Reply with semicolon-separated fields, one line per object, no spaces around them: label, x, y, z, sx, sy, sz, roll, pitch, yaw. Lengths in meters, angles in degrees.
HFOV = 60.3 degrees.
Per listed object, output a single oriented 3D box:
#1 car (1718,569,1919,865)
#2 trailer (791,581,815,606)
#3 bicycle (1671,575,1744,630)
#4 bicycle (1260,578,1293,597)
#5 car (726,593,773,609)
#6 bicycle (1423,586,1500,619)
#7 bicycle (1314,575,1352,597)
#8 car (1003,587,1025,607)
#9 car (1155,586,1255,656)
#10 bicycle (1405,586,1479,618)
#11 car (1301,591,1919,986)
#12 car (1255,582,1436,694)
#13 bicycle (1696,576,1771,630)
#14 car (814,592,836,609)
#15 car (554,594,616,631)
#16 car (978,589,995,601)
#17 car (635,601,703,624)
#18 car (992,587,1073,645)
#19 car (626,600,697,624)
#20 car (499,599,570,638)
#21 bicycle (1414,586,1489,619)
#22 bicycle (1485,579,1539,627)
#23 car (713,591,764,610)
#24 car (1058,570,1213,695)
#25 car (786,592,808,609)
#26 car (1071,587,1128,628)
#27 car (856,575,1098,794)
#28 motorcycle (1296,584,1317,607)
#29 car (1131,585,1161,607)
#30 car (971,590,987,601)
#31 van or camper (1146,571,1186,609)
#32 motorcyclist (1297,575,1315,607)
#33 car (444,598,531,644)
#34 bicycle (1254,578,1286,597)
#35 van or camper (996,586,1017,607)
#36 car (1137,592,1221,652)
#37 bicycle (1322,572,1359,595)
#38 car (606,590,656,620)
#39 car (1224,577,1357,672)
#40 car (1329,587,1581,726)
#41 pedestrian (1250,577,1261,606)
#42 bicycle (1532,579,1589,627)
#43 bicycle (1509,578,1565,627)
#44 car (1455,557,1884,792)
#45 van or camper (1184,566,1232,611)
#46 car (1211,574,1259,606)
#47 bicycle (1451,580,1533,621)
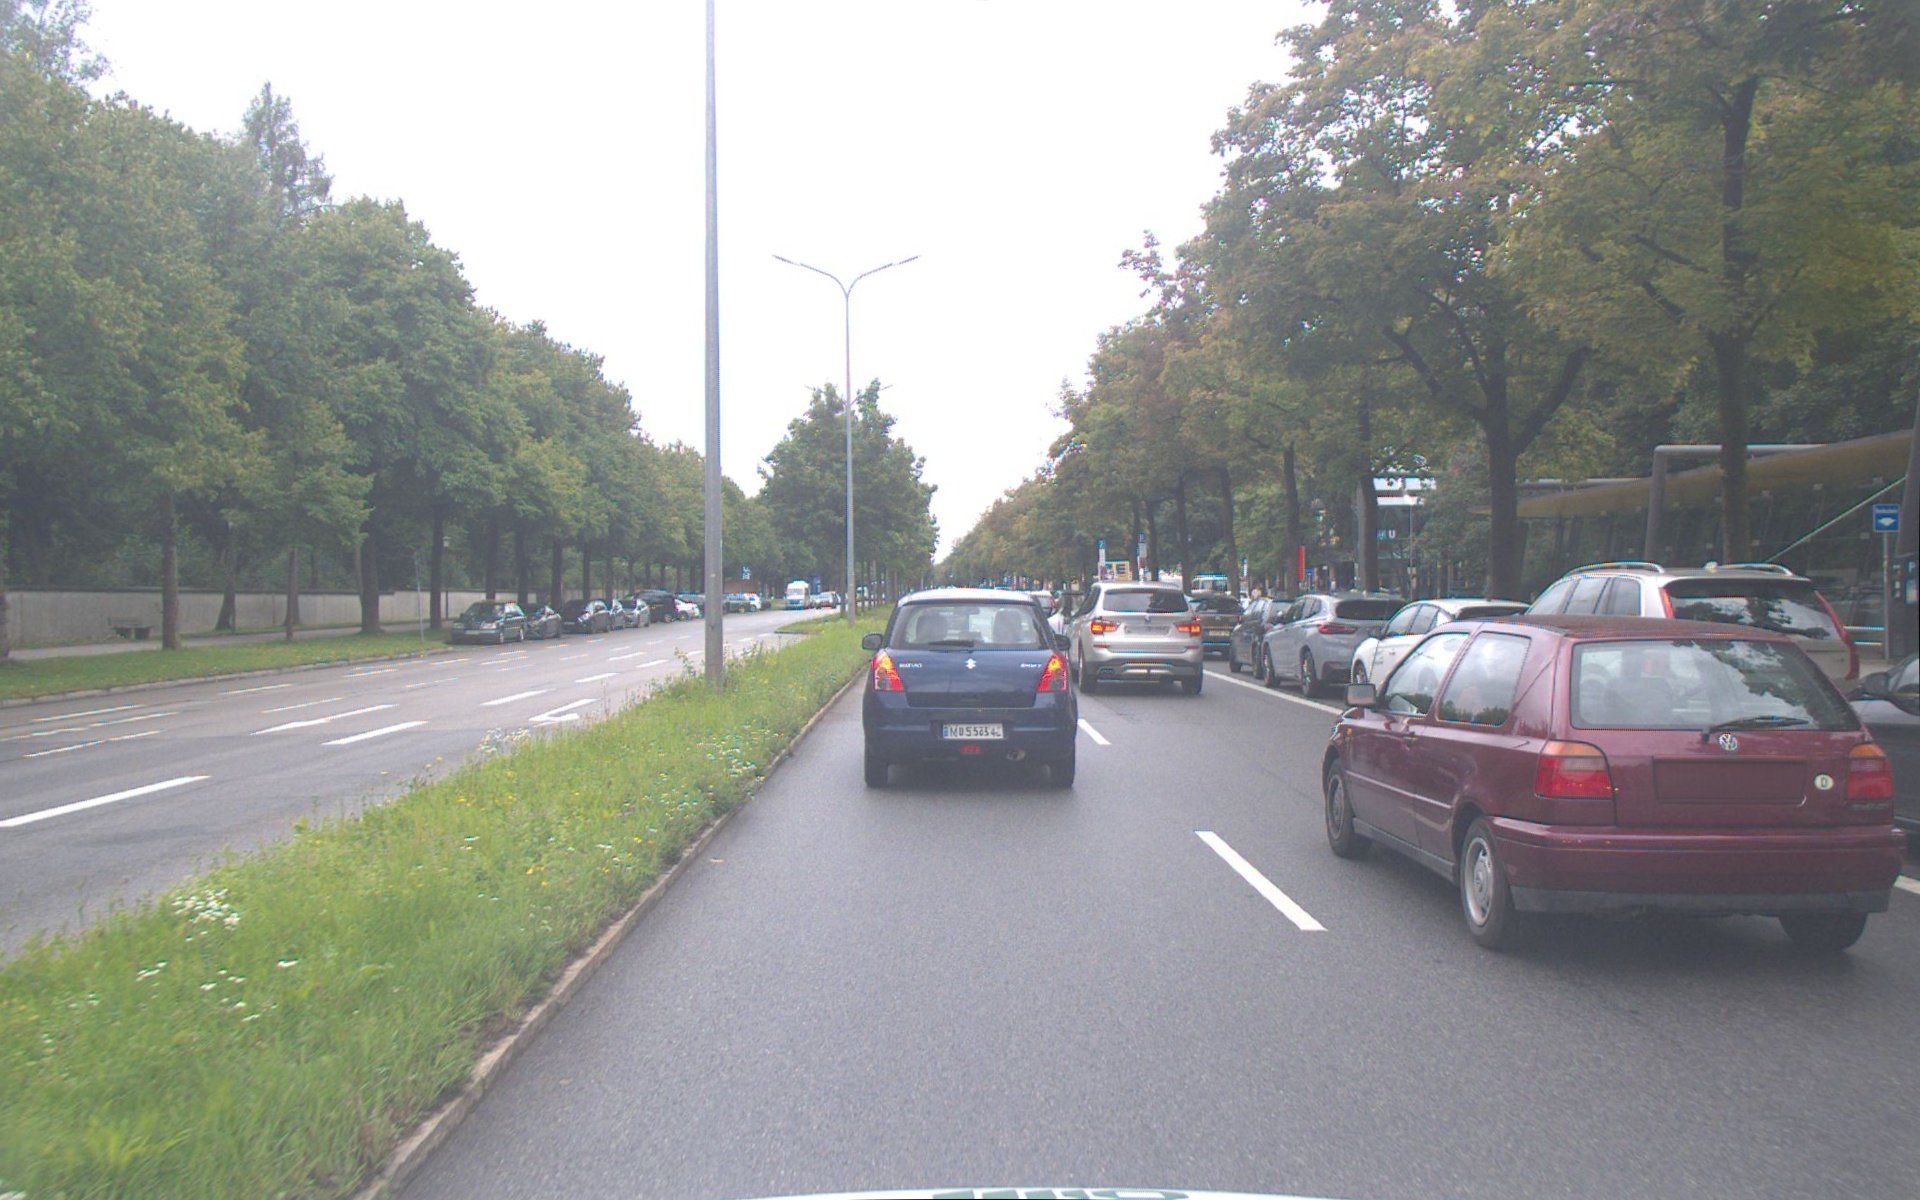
car;6.012;0.624;8.825;1.712;1.574;4.641;-1;1;-1
trailer;-16.524;-0.680;174.233;2.063;2.585;5.576;-1;0;-1
bicycle;18.482;0.058;40.951;0.632;1.303;2.550;-1;0;-1
bicycle;26.282;-1.040;137.181;2.560;1.534;0.797;-1;0;-7
car;-19.869;0.118;156.052;4.059;1.500;1.684;0;0;-35
bicycle;17.527;0.098;57.837;2.490;1.108;0.647;-1;0;-1
bicycle;26.956;-1.004;119.539;2.566;1.534;0.795;-1;0;-15
car;4.322;-0.225;133.516;1.650;1.552;4.455;1;0;0
car;5.721;0.456;39.055;1.683;1.535;4.223;-1;0;-1
bicycle;17.515;0.077;60.126;2.490;1.108;0.647;-1;0;-1
car;2.953;0.704;8.278;1.589;1.479;3.949;-1;0;-1
car;5.820;0.517;25.457;1.685;1.561;4.398;1;0;-1
bicycle;19.214;0.064;41.164;0.632;1.303;2.550;-1;0;-1
car;-12.886;0.079;158.431;1.875;1.569;4.186;-1;0;-2
car;-16.625;0.528;73.515;1.538;1.529;4.305;1;0;3
car;3.231;-0.615;199.155;1.813;1.472;4.096;-1;0;-2
car;-18.690;0.812;106.123;3.999;1.405;1.653;-1;0;-37
car;1.905;0.400;44.452;1.813;1.472;4.096;-1;0;-2
car;-18.610;0.754;103.204;3.955;1.378;1.828;-1;0;-36
car;-16.688;0.715;65.090;1.625;1.420;4.706;1;0;-1
bicycle;17.507;0.089;58.907;2.490;1.108;0.647;-1;0;-1
bicycle;15.405;0.071;46.220;0.632;1.303;2.550;-1;0;-1
car;-19.706;0.063;147.079;4.059;1.612;1.896;-1;0;-35
car;2.653;0.459;25.898;1.813;1.773;4.096;-1;0;-2
car;-16.230;0.045;164.833;1.875;1.569;4.186;-1;0;-2
car;5.222;0.269;62.384;1.620;1.459;4.482;-1;0;-2
car;0.046;0.604;14.121;1.753;1.583;3.998;-1;0;-2
motorcycle;20.211;-0.270;96.480;0.682;1.313;2.066;-5;0;-1
car;14.456;-0.321;128.929;1.650;1.661;4.496;-1;0;-3
car;2.472;-0.569;212.989;1.813;1.472;4.096;-1;0;-2
van or camper;14.578;-0.730;117.451;1.983;2.602;5.956;-1;0;-1
motorcyclist;20.185;-0.516;96.523;0.677;1.767;0.953;-5;0;-1
car;-16.810;0.706;59.041;1.762;1.516;4.914;1;0;-1
bicycle;26.427;-1.066;141.198;2.560;1.534;0.797;-1;0;-7
van or camper;4.492;-0.334;161.217;1.905;2.009;4.306;-1;0;0
car;5.725;0.551;43.634;1.601;1.479;4.077;-1;0;-1
bicycle;26.794;-1.149;116.462;2.574;1.534;0.793;-1;0;-23
car;-17.008;0.239;85.801;1.602;1.464;4.809;1;0;0
car;6.033;0.413;30.593;1.511;1.561;4.090;3;0;-1
car;6.044;0.622;20.759;1.667;1.534;4.502;-1;0;-2
pedestrian;18.488;-0.534;103.443;0.563;1.782;0.732;-1;0;4
bicycle;16.771;0.067;46.243;0.632;1.303;2.550;-1;0;-1
bicycle;16.109;0.061;46.207;0.632;1.303;2.550;-1;0;-1
car;6.054;0.527;14.852;1.712;1.754;4.906;0;1;-1
van or camper;15.072;-0.707;100.765;1.953;2.602;5.956;-1;0;-1
car;15.343;-0.565;92.387;1.953;1.680;4.000;-1;0;-1
bicycle;17.443;0.019;54.251;2.490;1.303;0.647;-1;0;-1
